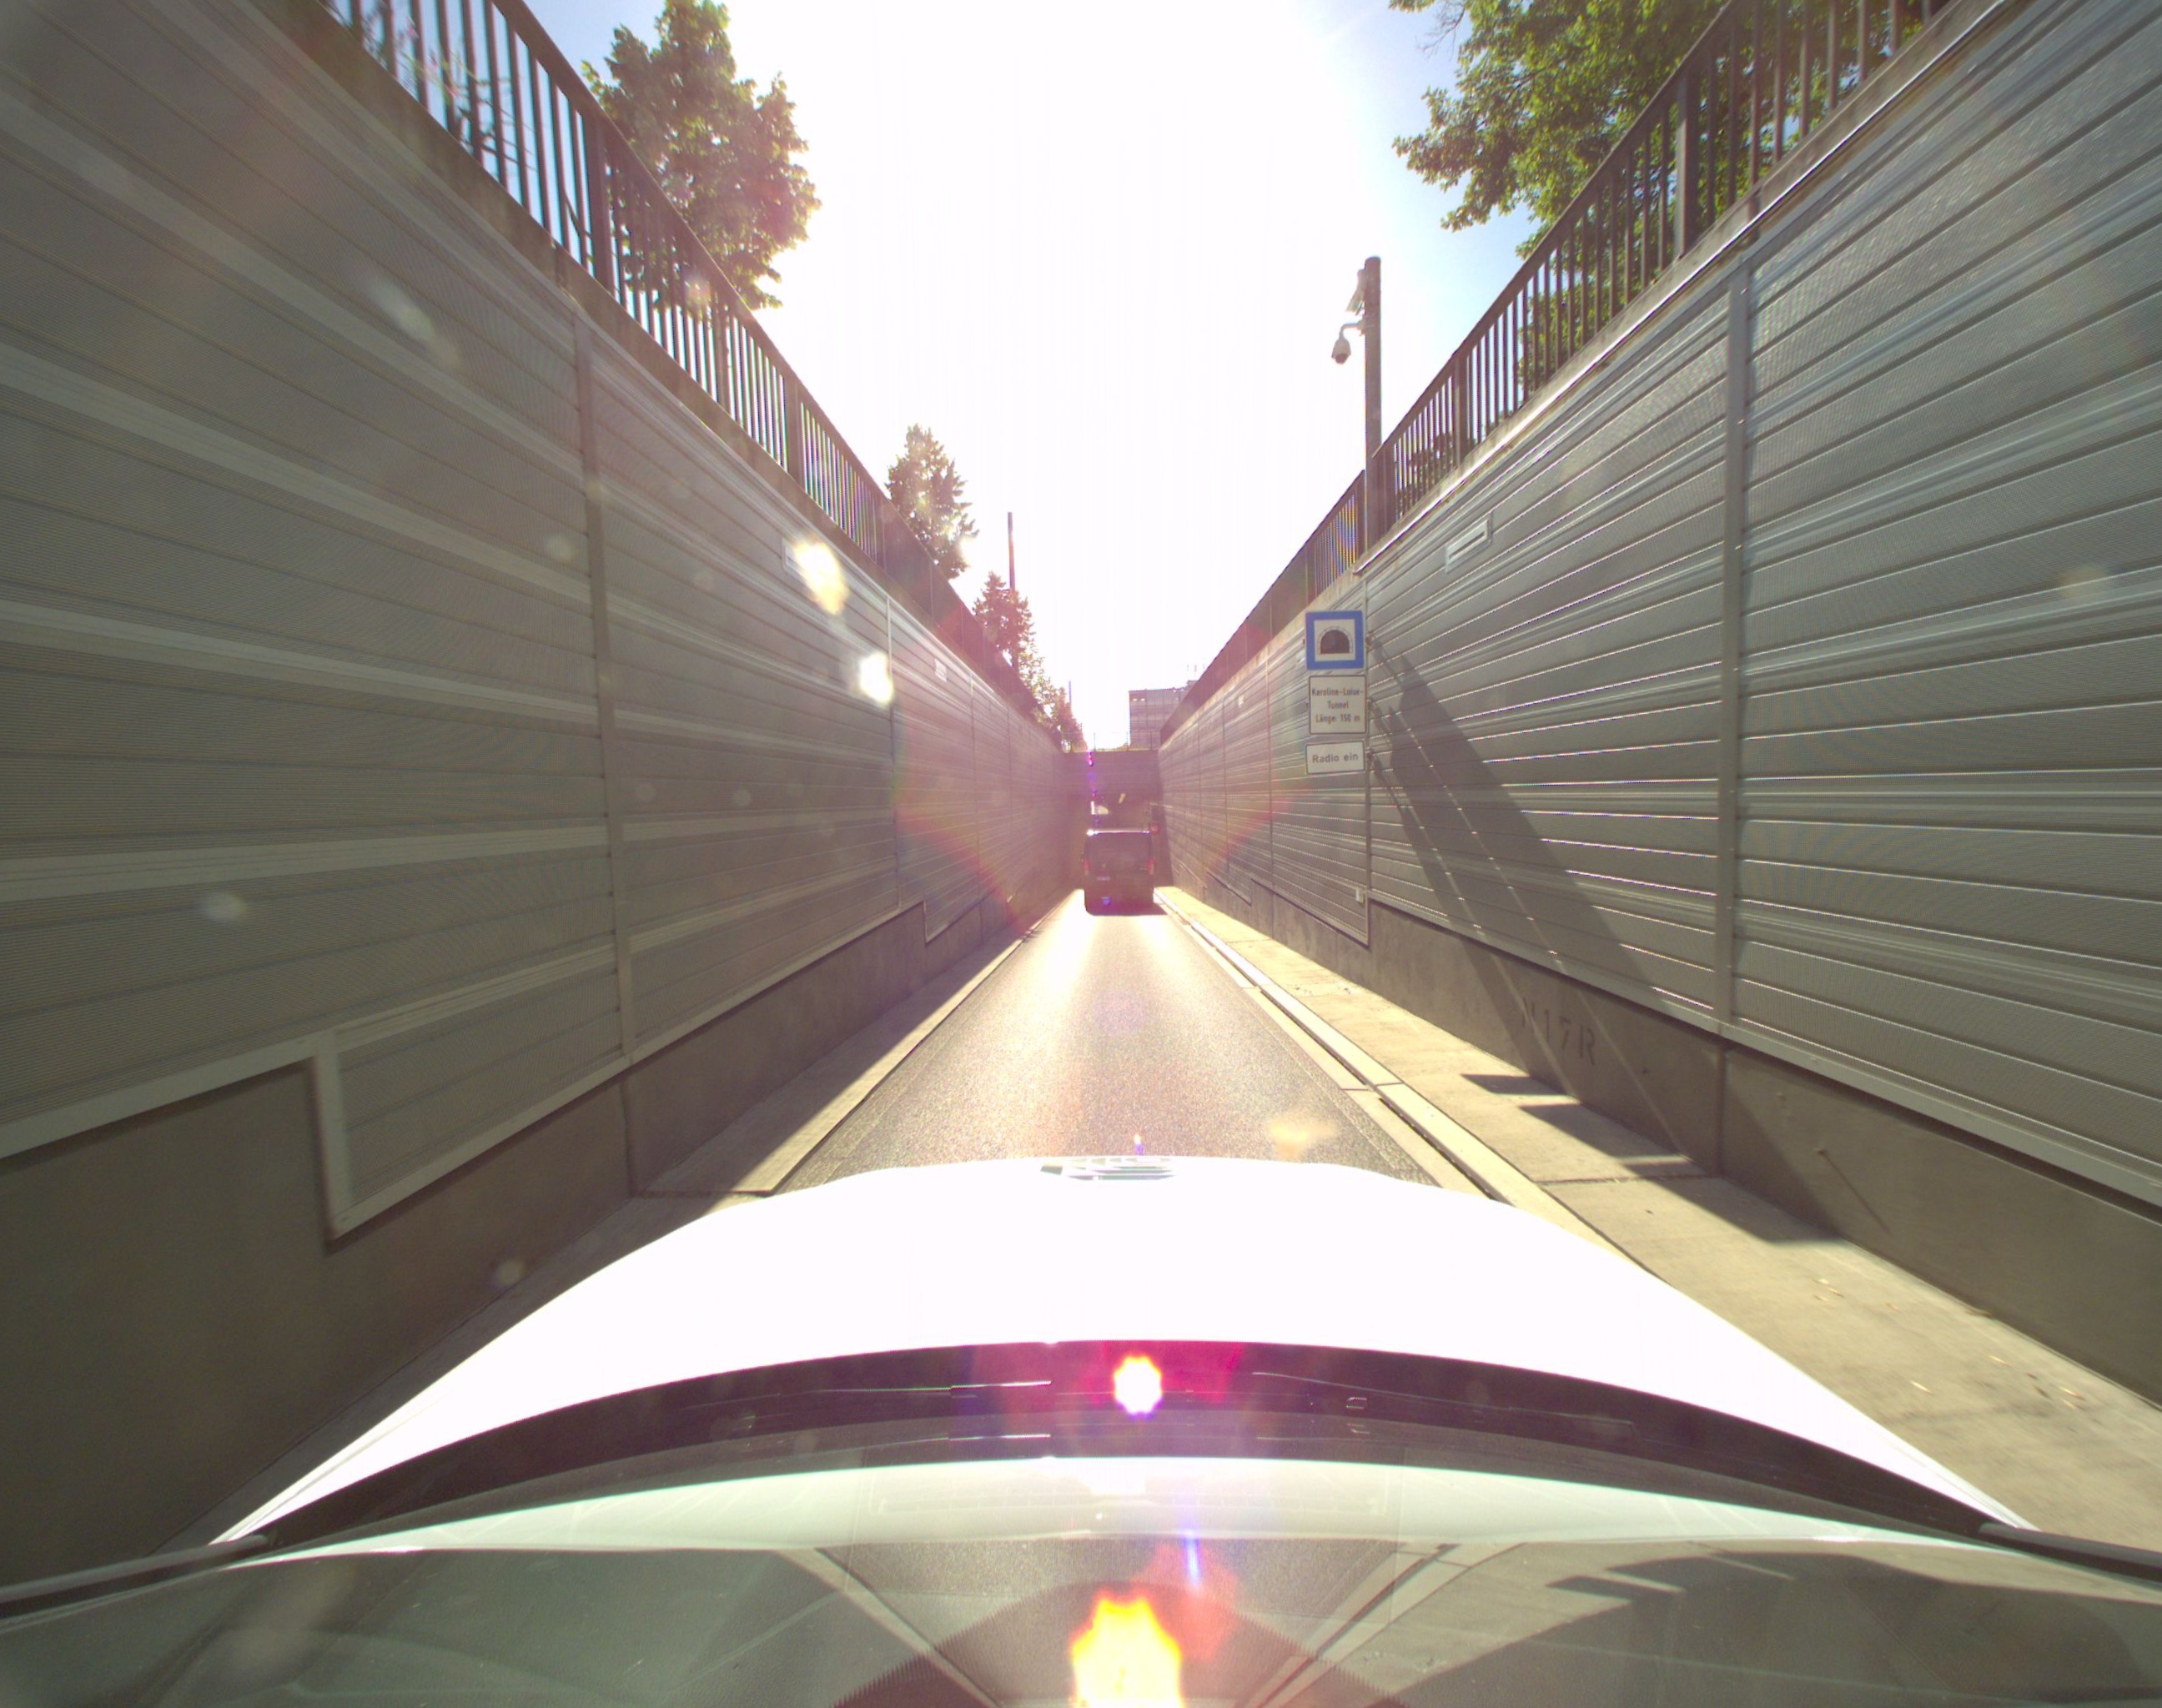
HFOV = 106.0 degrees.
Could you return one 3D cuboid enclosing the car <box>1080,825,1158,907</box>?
[{"bbox_3d":[1.159,0.326,25.129,2.150,2.266,4.640,-1,0,2],"label":"car"}]
